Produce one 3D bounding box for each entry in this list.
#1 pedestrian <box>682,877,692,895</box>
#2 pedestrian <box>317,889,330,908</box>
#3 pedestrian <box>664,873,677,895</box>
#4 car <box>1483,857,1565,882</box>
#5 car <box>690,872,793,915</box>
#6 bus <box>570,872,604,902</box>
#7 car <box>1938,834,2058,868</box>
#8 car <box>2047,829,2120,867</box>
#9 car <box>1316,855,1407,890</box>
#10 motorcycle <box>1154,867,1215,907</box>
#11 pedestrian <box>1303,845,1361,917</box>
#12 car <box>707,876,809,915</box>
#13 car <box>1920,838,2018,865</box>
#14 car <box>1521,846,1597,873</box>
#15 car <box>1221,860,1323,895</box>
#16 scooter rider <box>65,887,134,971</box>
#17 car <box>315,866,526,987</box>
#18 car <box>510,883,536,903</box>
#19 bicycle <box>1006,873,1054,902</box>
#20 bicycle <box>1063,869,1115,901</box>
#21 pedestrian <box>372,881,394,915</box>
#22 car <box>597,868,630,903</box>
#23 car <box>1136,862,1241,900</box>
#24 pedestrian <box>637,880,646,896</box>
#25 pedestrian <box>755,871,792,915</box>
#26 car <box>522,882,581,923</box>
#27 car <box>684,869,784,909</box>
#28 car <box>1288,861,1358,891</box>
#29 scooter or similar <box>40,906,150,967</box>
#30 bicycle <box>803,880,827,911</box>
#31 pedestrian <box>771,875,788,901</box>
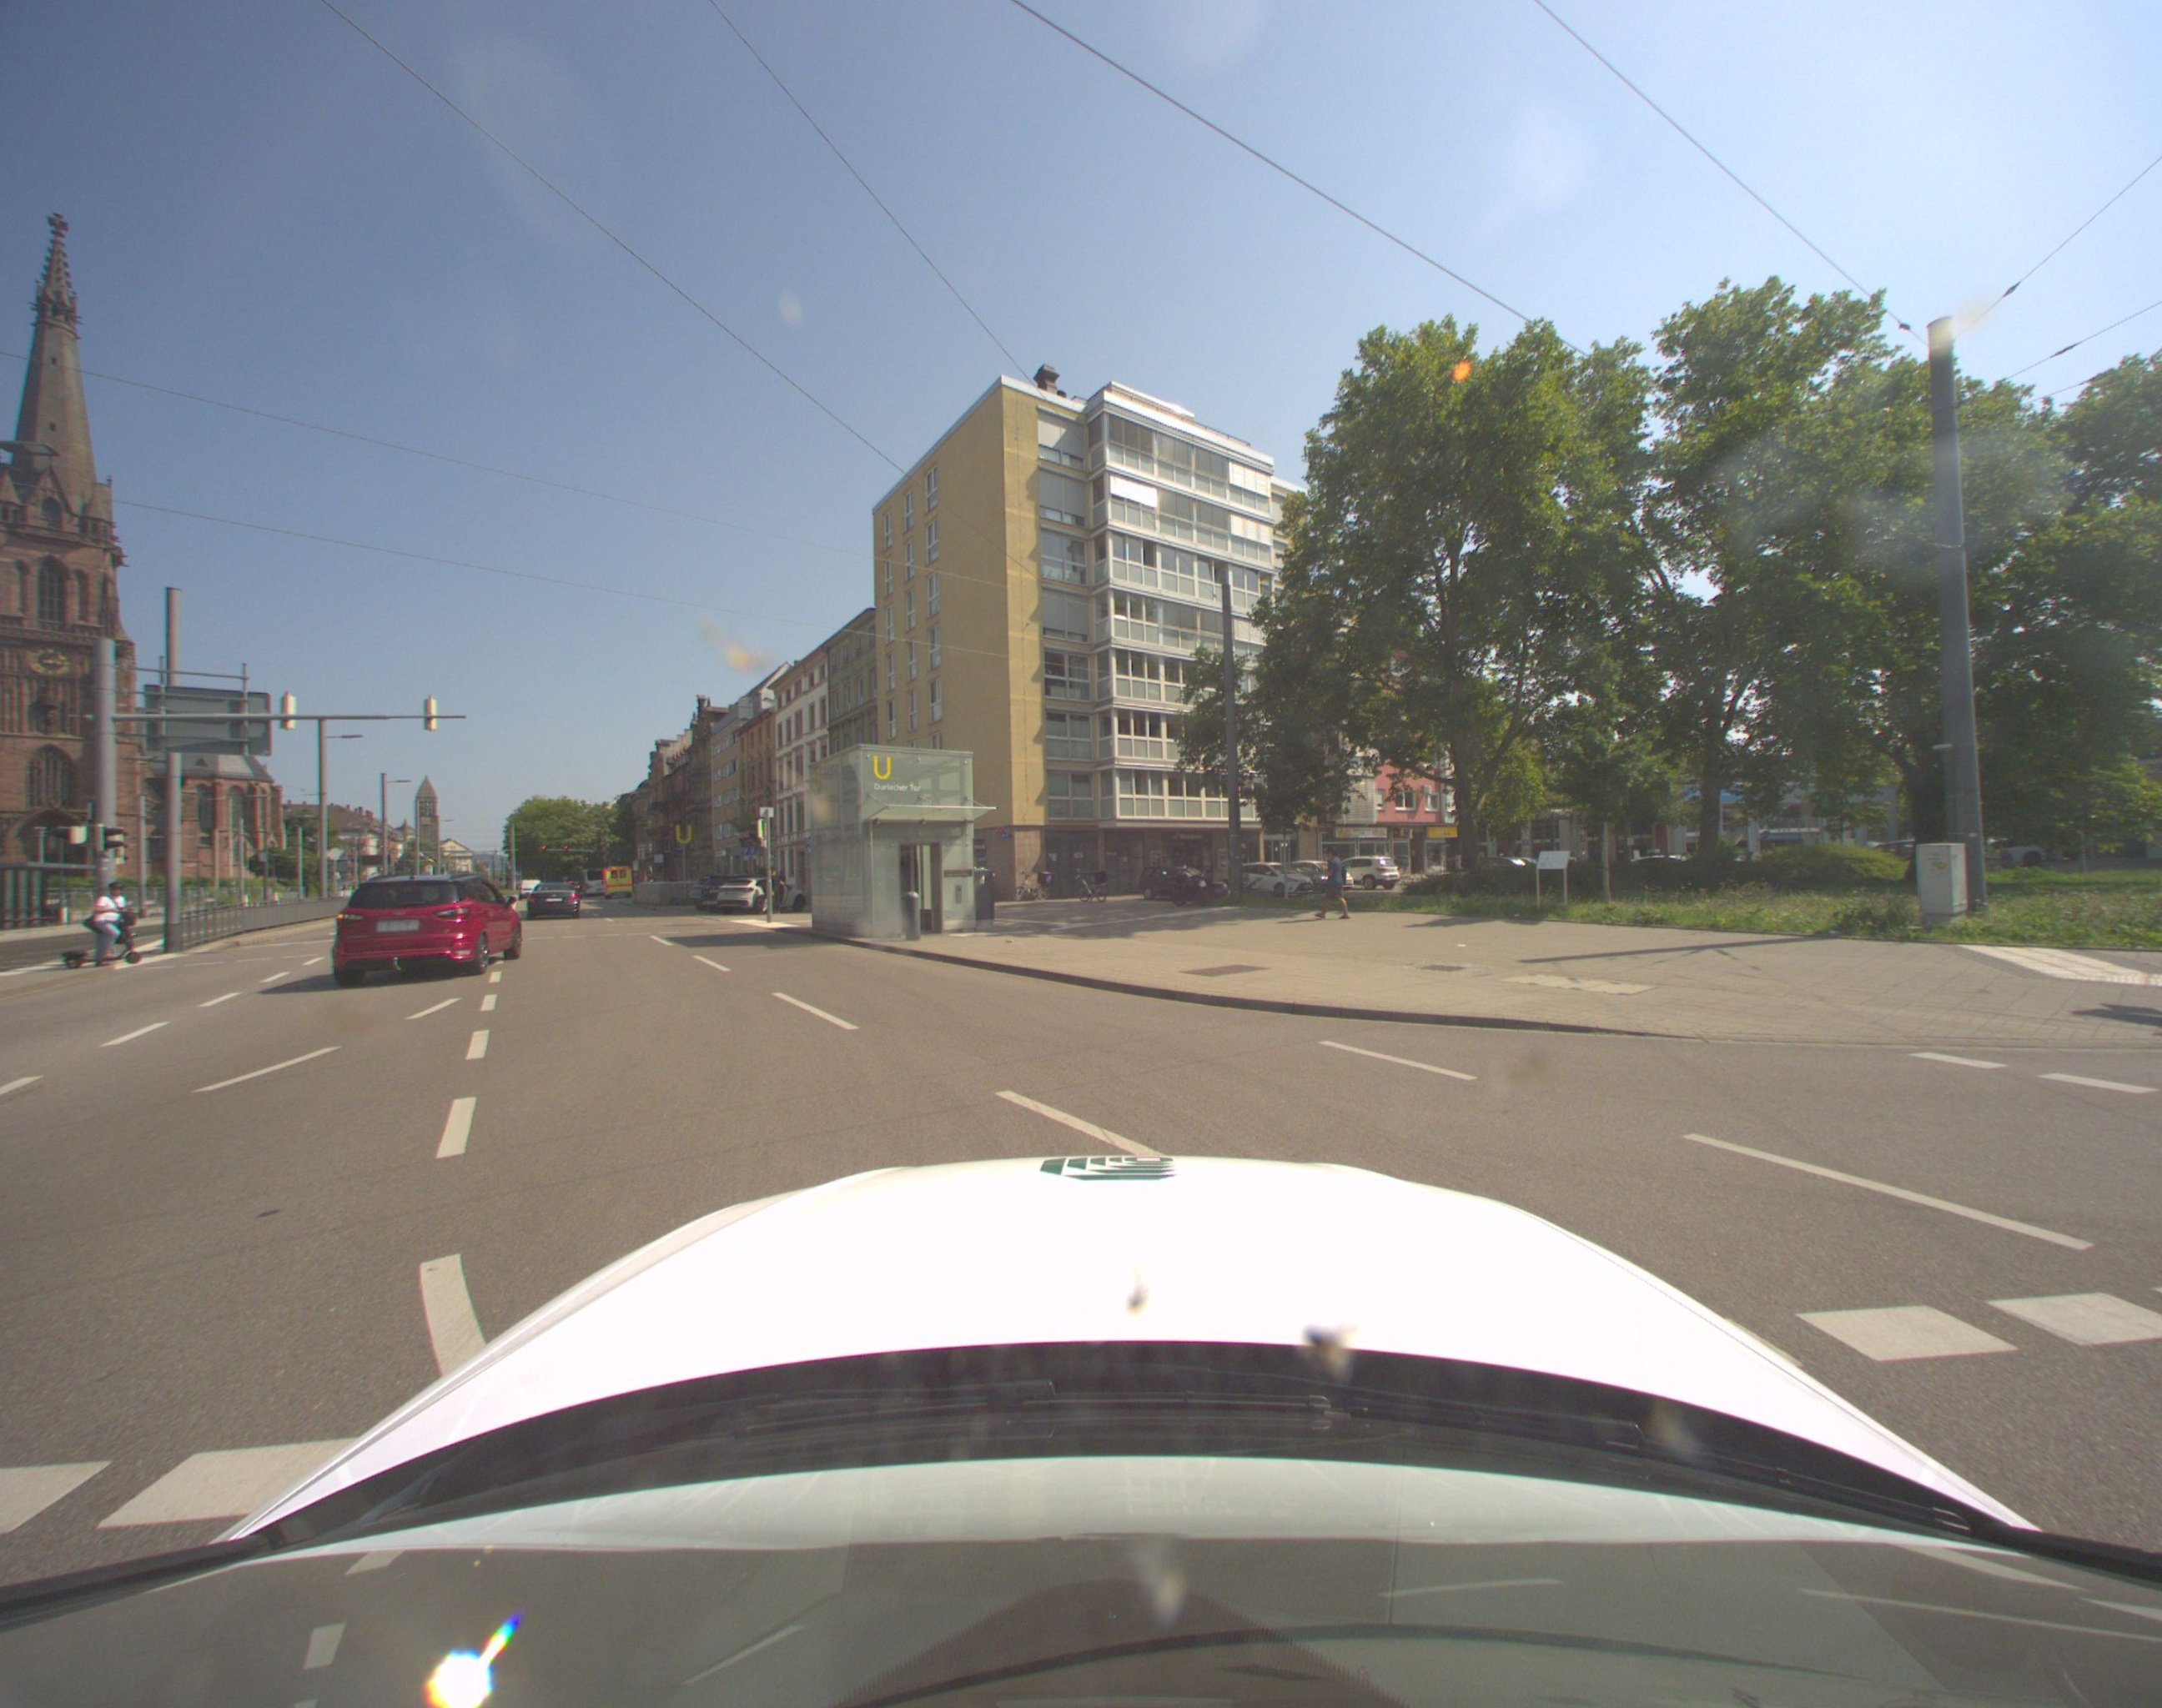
[{"bbox_3d":[-36.605,2.982,75.676,0.702,1.667,0.596,0,-2,-33],"label":"pedestrian"},{"bbox_3d":[-74.751,4.386,80.392,0.835,1.752,0.713,-1,-2,-35],"label":"pedestrian"},{"bbox_3d":[-33.329,2.457,66.174,0.855,1.729,0.962,-2,1,-29],"label":"pedestrian"},{"bbox_3d":[27.133,0.974,49.986,1.799,1.397,4.027,-1,-1,-38],"label":"car"},{"bbox_3d":[-15.062,1.720,36.403,1.966,1.687,4.408,-2,-1,14],"label":"car"},{"bbox_3d":[-56.044,3.733,92.228,2.553,3.032,12.300,-1,-2,-35],"label":"bus"},{"bbox_3d":[51.538,-0.145,45.839,4.215,1.753,1.723,-2,-1,14],"label":"car"},{"bbox_3d":[56.809,-0.385,46.273,6.846,2.013,2.306,-1,1,-42],"label":"car"},{"bbox_3d":[14.314,0.941,41.682,1.799,1.666,4.027,-1,-1,-38],"label":"car"},{"bbox_3d":[3.161,0.998,25.058,0.913,1.137,2.096,-1,-1,-23],"label":"motorcycle"},{"bbox_3d":[5.827,0.629,18.927,0.797,1.609,0.939,-1,-2,-38],"label":"pedestrian"},{"bbox_3d":[-13.258,1.686,33.670,1.786,1.500,3.803,0,-2,19],"label":"car"},{"bbox_3d":[53.960,-0.124,49.539,3.981,1.508,1.996,-2,-1,-6],"label":"car"},{"bbox_3d":[32.288,0.384,55.053,1.799,1.666,4.027,-1,-1,-38],"label":"car"},{"bbox_3d":[8.584,1.078,36.898,1.915,1.470,4.198,-1,-1,-38],"label":"car"},{"bbox_3d":[-20.655,1.560,17.160,0.778,1.673,0.770,-1,-1,-39],"label":"scooter rider"},{"bbox_3d":[-10.734,1.084,13.590,1.771,1.618,4.048,-2,-1,-25],"label":"car"},{"bbox_3d":[-50.601,3.546,73.815,1.804,1.780,3.955,0,-3,-36],"label":"car"},{"bbox_3d":[-2.189,1.423,35.033,1.970,1.143,0.592,-1,-1,-21],"label":"bicycle"},{"bbox_3d":[0.288,1.244,32.658,0.798,1.239,2.408,-1,-2,-35],"label":"bicycle"},{"bbox_3d":[-37.650,2.376,43.926,0.766,1.752,1.057,-1,-2,-35],"label":"pedestrian"},{"bbox_3d":[-41.496,2.785,72.175,2.314,2.888,5.543,-2,0,-31],"label":"car"},{"bbox_3d":[4.419,1.122,33.949,1.915,1.470,4.198,-1,-1,-38],"label":"car"},{"bbox_3d":[-46.803,3.639,86.783,0.696,1.667,0.601,-1,-2,-9],"label":"pedestrian"},{"bbox_3d":[-12.287,1.557,32.540,0.893,1.704,1.044,-2,-2,29],"label":"pedestrian"},{"bbox_3d":[-20.632,1.832,31.698,1.803,1.431,3.957,-1,-1,-34],"label":"car"},{"bbox_3d":[-16.796,1.649,39.694,2.023,1.714,4.683,-2,-1,14],"label":"car"},{"bbox_3d":[11.997,1.106,40.438,1.410,1.429,3.063,-1,-1,-38],"label":"car"},{"bbox_3d":[-20.695,1.703,17.129,1.348,1.148,0.701,-1,-3,-38],"label":"scooter or similar"},{"bbox_3d":[-11.541,1.801,35.305,0.476,1.296,1.773,-2,-2,-33],"label":"bicycle"},{"bbox_3d":[-21.481,2.413,57.979,0.848,1.846,0.678,-3,0,-44],"label":"pedestrian"}]
